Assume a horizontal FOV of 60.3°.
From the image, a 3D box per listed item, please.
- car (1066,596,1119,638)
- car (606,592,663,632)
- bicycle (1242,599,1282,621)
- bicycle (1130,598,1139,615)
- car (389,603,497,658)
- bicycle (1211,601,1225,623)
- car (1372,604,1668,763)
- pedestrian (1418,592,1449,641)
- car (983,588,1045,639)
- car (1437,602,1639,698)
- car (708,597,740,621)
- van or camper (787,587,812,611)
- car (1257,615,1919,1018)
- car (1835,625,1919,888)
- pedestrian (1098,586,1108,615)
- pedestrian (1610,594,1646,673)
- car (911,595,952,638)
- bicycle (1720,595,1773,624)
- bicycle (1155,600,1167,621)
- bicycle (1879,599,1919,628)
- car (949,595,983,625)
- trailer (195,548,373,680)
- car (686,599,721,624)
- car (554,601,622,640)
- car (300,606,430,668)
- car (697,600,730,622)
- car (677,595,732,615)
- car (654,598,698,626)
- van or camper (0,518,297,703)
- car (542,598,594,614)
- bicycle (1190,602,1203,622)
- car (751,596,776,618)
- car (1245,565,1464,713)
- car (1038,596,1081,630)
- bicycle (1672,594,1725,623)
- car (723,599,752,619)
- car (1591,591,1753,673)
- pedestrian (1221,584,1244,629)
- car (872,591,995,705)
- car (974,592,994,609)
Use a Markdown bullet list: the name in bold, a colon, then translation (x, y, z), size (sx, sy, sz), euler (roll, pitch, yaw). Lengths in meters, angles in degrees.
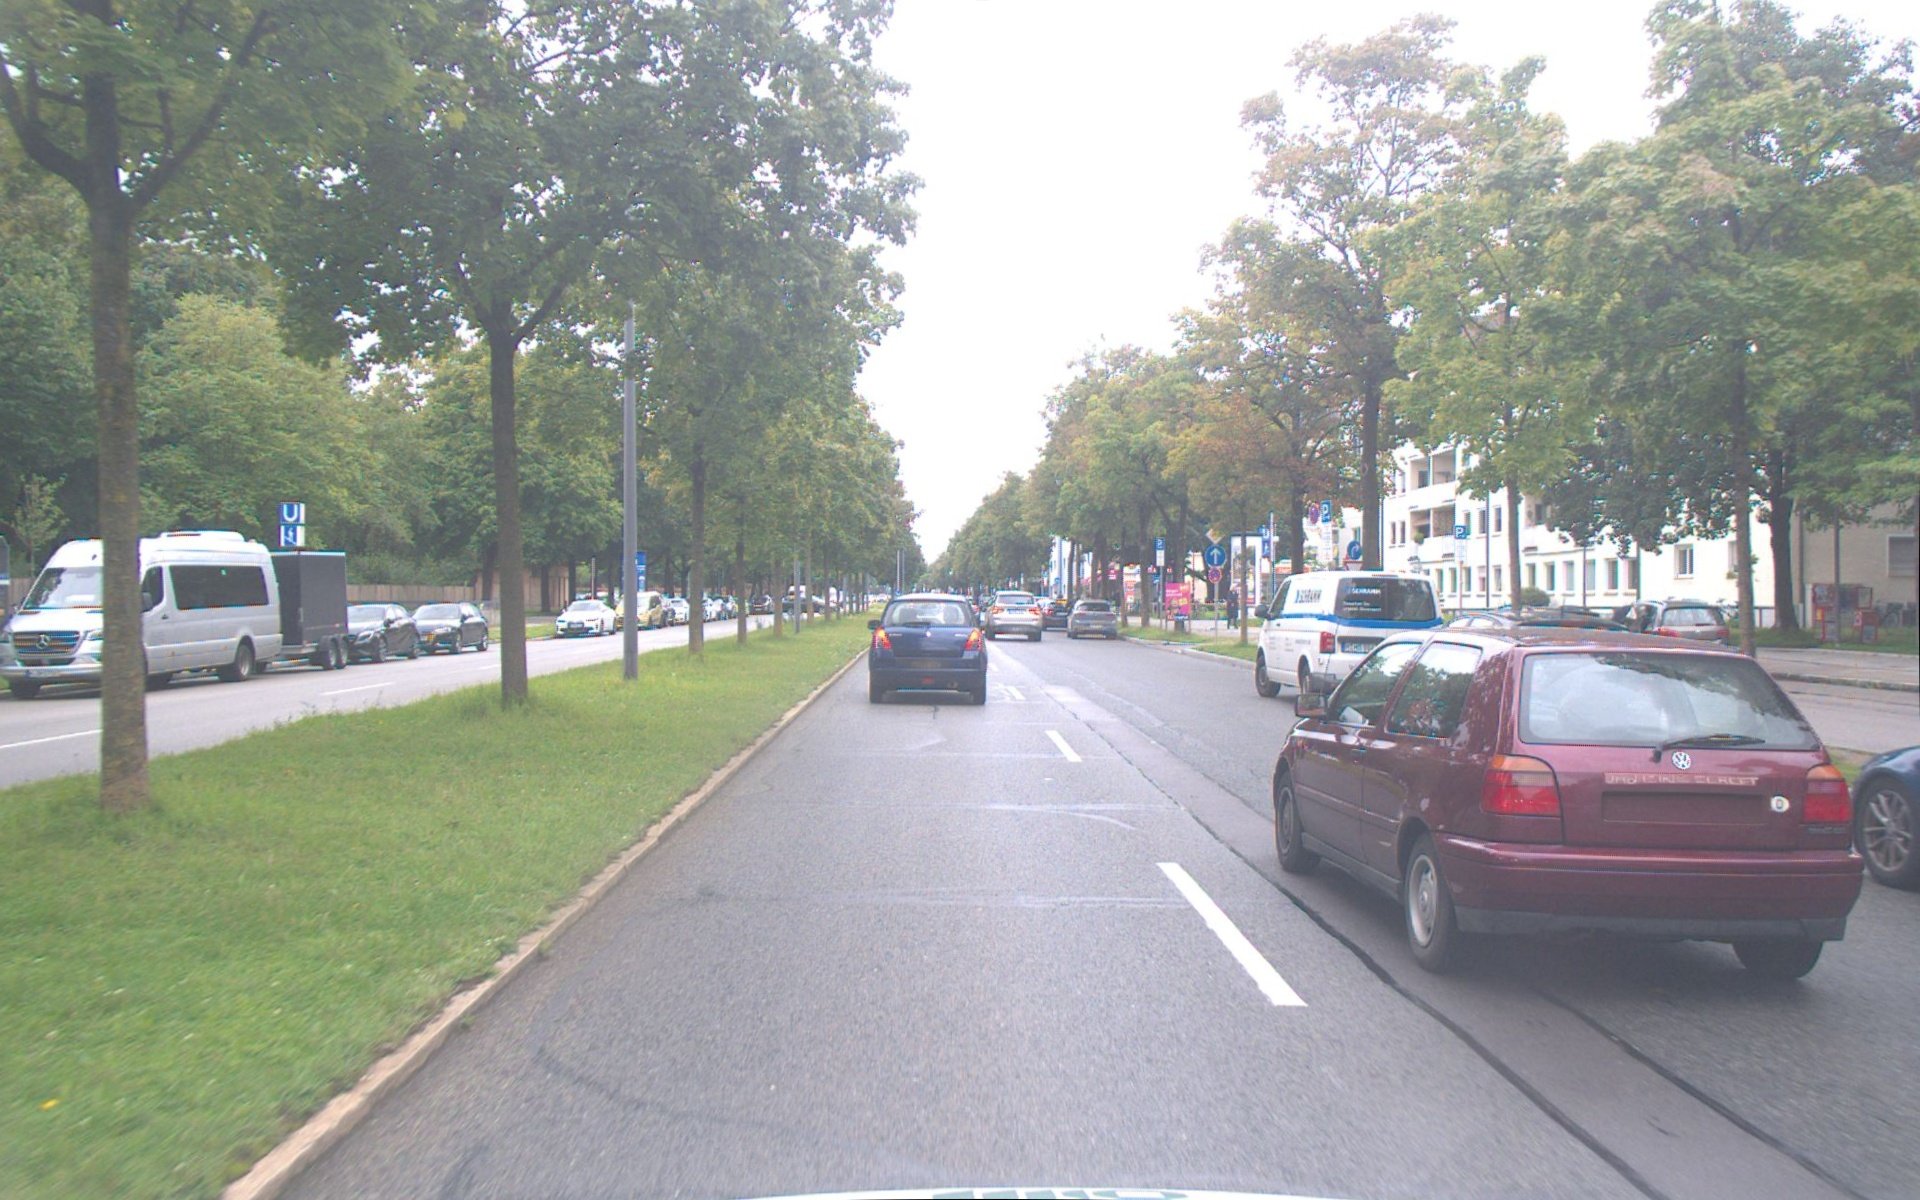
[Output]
- **car**: translation (4.996, 0.619, 62.919), size (1.647, 1.491, 4.115), euler (1, 0, 0)
- **car**: translation (-15.677, 0.556, 79.914), size (1.777, 1.814, 4.817), euler (-2, 0, 0)
- **bicycle**: translation (14.882, 0.499, 81.537), size (1.840, 1.046, 0.432), euler (-1, 0, -4)
- **bicycle**: translation (11.706, 0.452, 111.181), size (0.381, 1.124, 1.853), euler (1, 0, 0)
- **car**: translation (-14.865, 0.841, 47.812), size (1.763, 1.450, 4.430), euler (-2, 0, -1)
- **bicycle**: translation (14.022, 0.646, 89.845), size (0.422, 1.120, 1.883), euler (-1, 0, 0)
- **car**: translation (5.941, 0.818, 18.064), size (1.662, 1.474, 4.039), euler (2, 0, -3)
- **pedestrian**: translation (15.424, 0.535, 53.899), size (0.573, 1.602, 0.772), euler (1, -1, -34)
- **car**: translation (1.848, 0.441, 57.719), size (1.828, 1.690, 4.405), euler (1, 0, -2)
- **car**: translation (9.694, 0.786, 28.158), size (1.693, 1.457, 4.690), euler (1, 0, -1)
- **car**: translation (-16.343, 0.608, 114.599), size (1.656, 1.614, 4.369), euler (-2, 0, -2)
- **van or camper**: translation (-17.608, -0.086, 181.710), size (2.073, 2.525, 7.448), euler (1, 0, 0)
- **car**: translation (2.691, 0.813, 8.004), size (1.648, 1.408, 3.917), euler (1, 0, -2)
- **car**: translation (6.052, 0.876, 7.706), size (1.648, 1.399, 4.079), euler (1, 0, -2)
- **pedestrian**: translation (9.719, 0.028, 112.456), size (0.576, 1.923, 0.901), euler (0, 0, -2)
- **pedestrian**: translation (14.014, 0.697, 34.703), size (0.643, 1.622, 0.755), euler (0, 0, 17)
- **car**: translation (-1.056, 0.592, 60.429), size (1.415, 1.509, 3.105), euler (0, 0, -2)
- **bicycle**: translation (27.357, 0.318, 57.534), size (1.658, 0.988, 0.455), euler (0, 0, -5)
- **bicycle**: translation (11.353, 0.608, 93.396), size (0.422, 1.153, 1.883), euler (-1, 1, 0)
- **bicycle**: translation (32.337, 0.453, 56.525), size (1.658, 0.988, 0.455), euler (0, 0, -5)
- **car**: translation (0.274, 0.520, 84.908), size (1.648, 1.488, 3.733), euler (0, 0, -1)
- **trailer**: translation (-14.639, 0.277, 36.129), size (1.976, 2.635, 4.658), euler (-1, 0, -1)
- **car**: translation (-16.083, 0.709, 103.757), size (1.574, 1.469, 4.278), euler (-2, 0, -1)
- **car**: translation (-15.496, 0.819, 69.080), size (1.819, 1.498, 4.873), euler (-2, 0, -2)
- **car**: translation (-14.931, 0.895, 41.756), size (1.763, 1.408, 4.237), euler (-2, 0, -1)
- **car**: translation (-16.200, 0.712, 108.813), size (1.558, 1.421, 3.630), euler (-2, 0, 1)
- **car**: translation (-19.521, 0.382, 126.424), size (4.043, 1.494, 1.837), euler (0, 0, -7)
- **car**: translation (-15.885, 0.671, 92.638), size (1.727, 1.475, 4.531), euler (-2, 0, -2)
- **van or camper**: translation (-14.556, 0.149, 30.075), size (1.994, 2.887, 7.545), euler (-1, 0, -1)
- **car**: translation (-32.761, 0.492, 138.165), size (4.324, 1.222, 1.669), euler (1, -1, 31)
- **bicycle**: translation (12.875, 0.644, 90.059), size (0.422, 1.046, 1.883), euler (-1, 0, 0)
- **car**: translation (-16.626, 0.570, 140.125), size (1.682, 1.771, 3.877), euler (1, 0, -2)
- **car**: translation (5.770, 0.519, 24.869), size (1.843, 1.961, 4.930), euler (1, 0, -3)
- **car**: translation (4.593, 0.593, 76.613), size (1.715, 1.491, 4.176), euler (1, 0, 0)
- **bicycle**: translation (25.618, 0.295, 57.349), size (1.658, 0.988, 0.455), euler (0, 0, -5)
- **car**: translation (-16.502, 0.669, 123.021), size (1.515, 1.434, 3.880), euler (-2, 0, 1)
- **car**: translation (15.453, 0.651, 36.129), size (1.784, 1.662, 4.198), euler (-1, 0, 1)
- **pedestrian**: translation (10.722, 0.271, 65.045), size (0.633, 1.760, 0.595), euler (1, -1, -31)
- **car**: translation (-0.430, 0.646, 24.293), size (1.648, 1.528, 3.917), euler (0, 0, -2)
- **car**: translation (2.425, 0.009, 167.102), size (1.828, 1.712, 4.222), euler (0, 0, -3)
